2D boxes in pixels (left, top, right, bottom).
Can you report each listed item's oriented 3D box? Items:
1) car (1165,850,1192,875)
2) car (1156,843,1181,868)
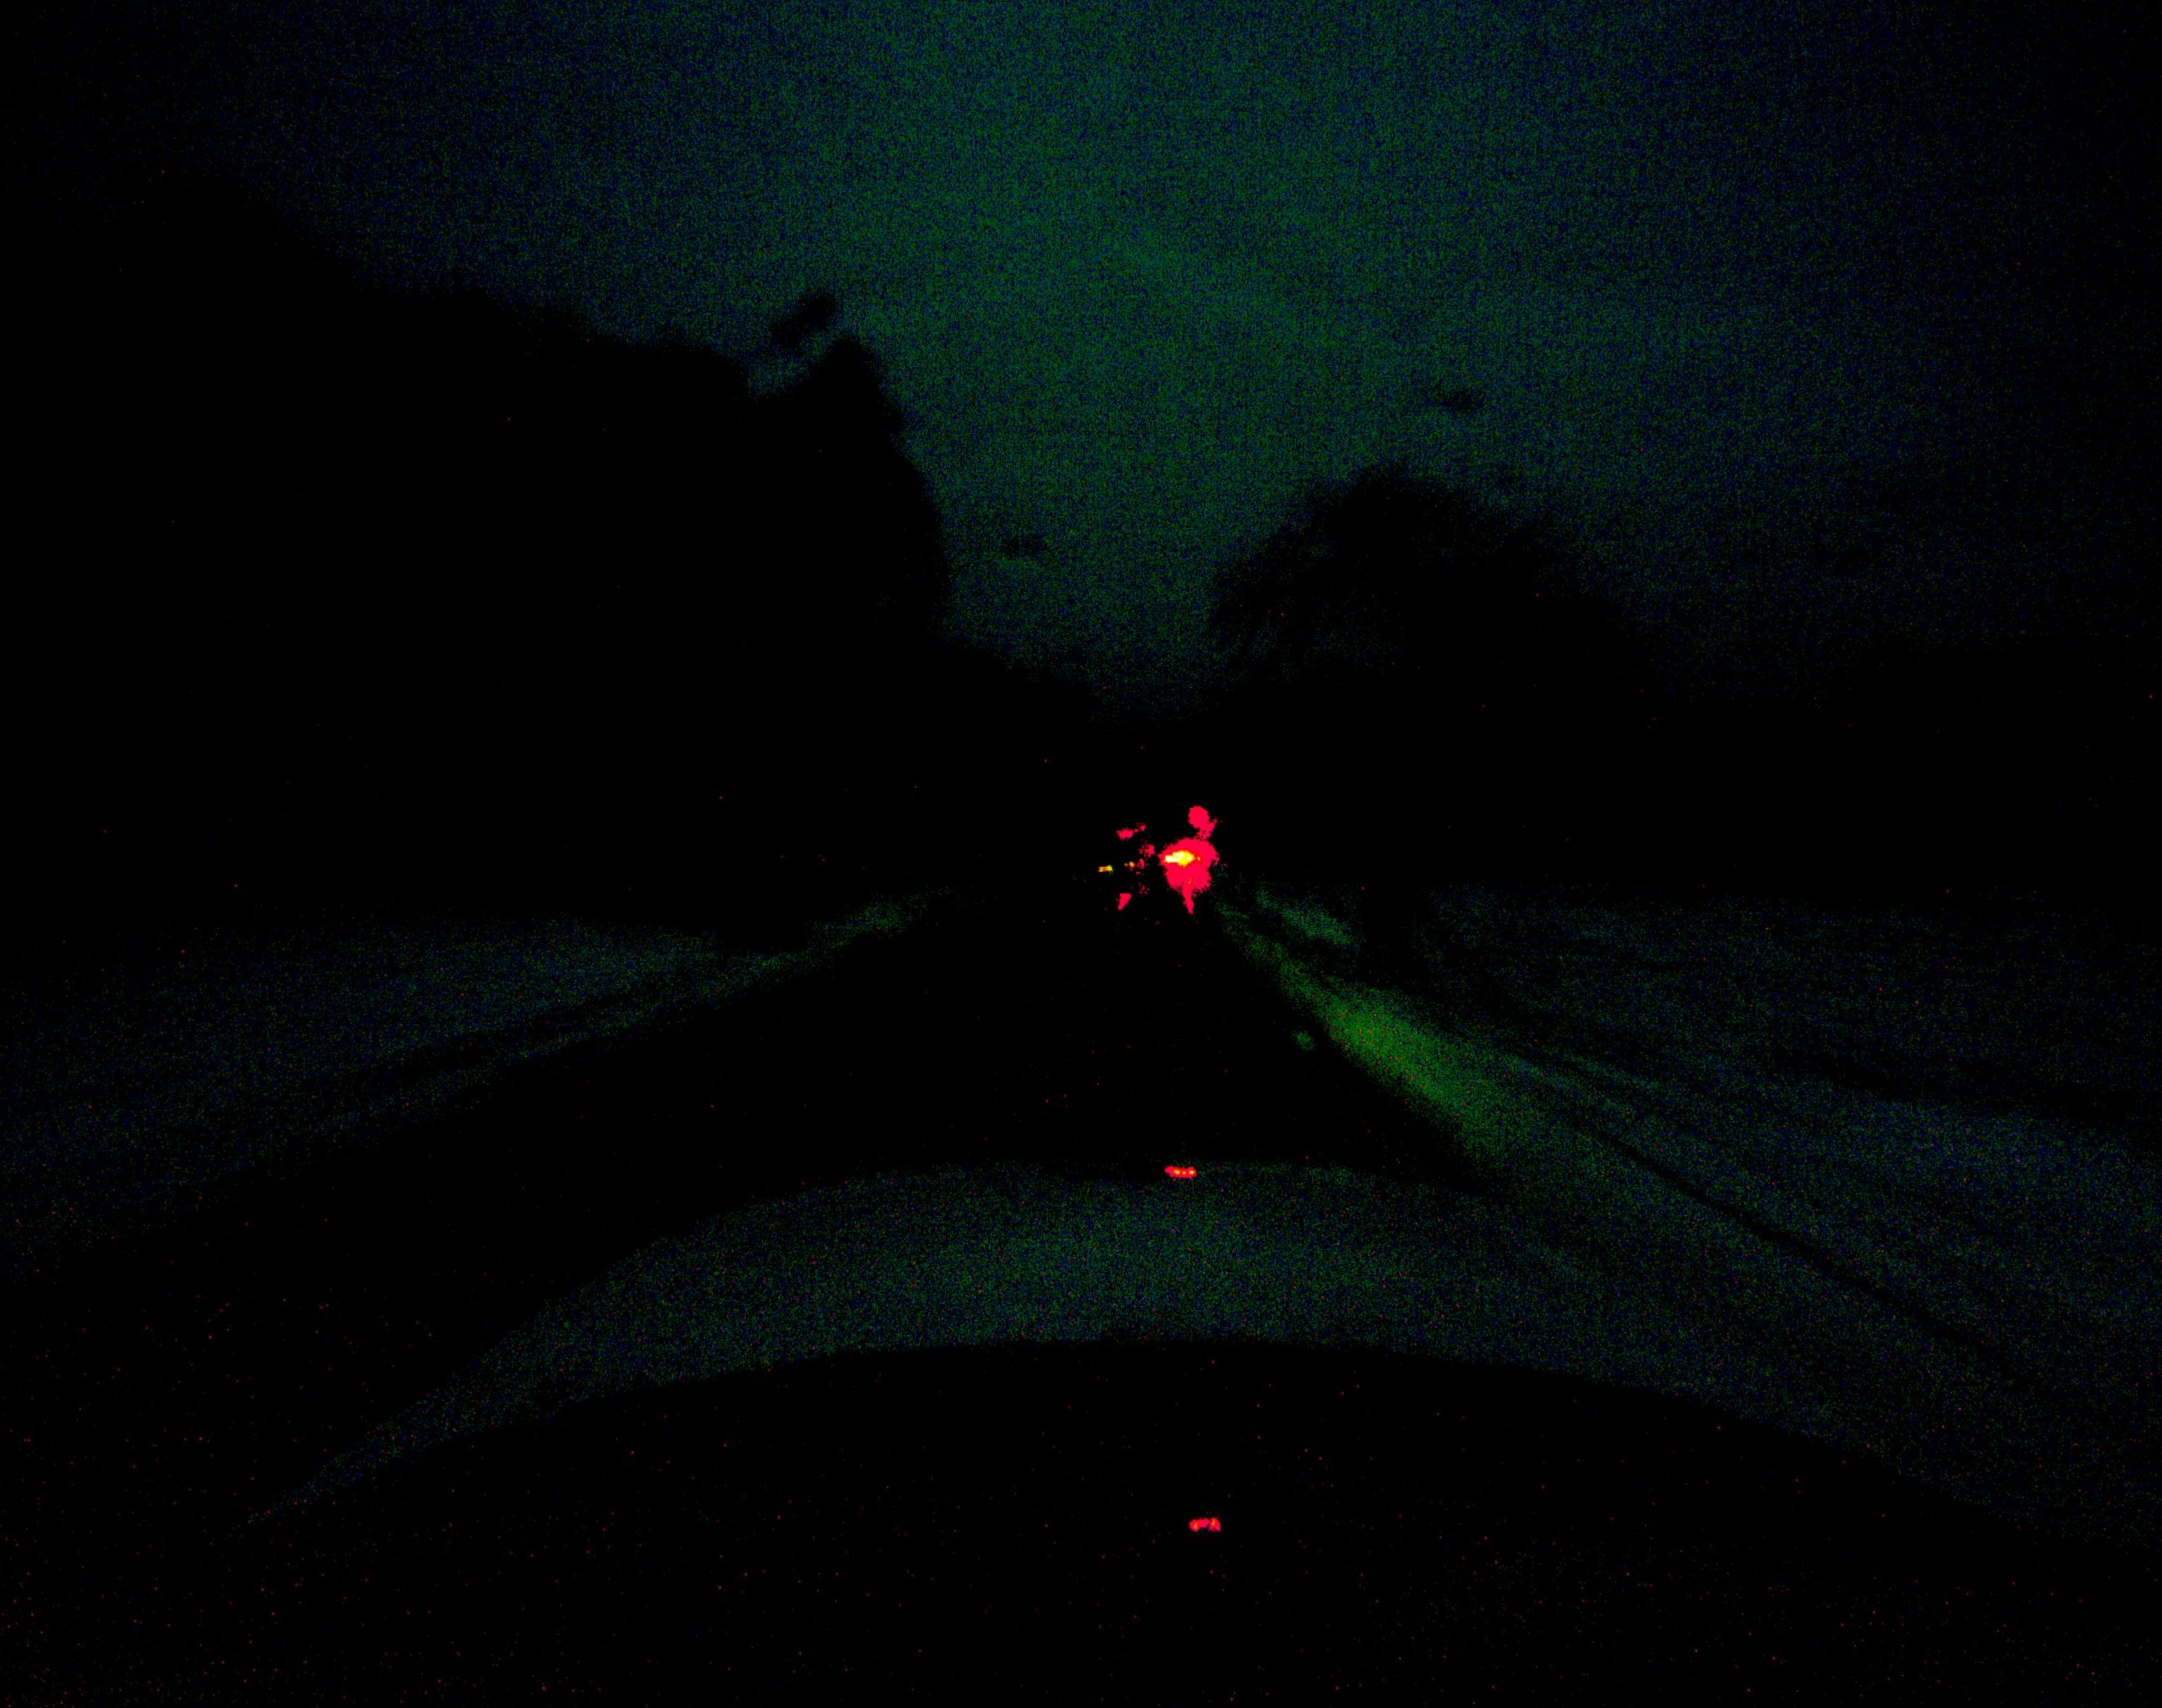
[{"bbox_3d":[8.467,0.694,70.928,1.985,2.051,4.003,1,0,3],"label":"car"},{"bbox_3d":[9.603,0.205,89.444,2.244,2.645,5.007,-2,0,1],"label":"car"}]
